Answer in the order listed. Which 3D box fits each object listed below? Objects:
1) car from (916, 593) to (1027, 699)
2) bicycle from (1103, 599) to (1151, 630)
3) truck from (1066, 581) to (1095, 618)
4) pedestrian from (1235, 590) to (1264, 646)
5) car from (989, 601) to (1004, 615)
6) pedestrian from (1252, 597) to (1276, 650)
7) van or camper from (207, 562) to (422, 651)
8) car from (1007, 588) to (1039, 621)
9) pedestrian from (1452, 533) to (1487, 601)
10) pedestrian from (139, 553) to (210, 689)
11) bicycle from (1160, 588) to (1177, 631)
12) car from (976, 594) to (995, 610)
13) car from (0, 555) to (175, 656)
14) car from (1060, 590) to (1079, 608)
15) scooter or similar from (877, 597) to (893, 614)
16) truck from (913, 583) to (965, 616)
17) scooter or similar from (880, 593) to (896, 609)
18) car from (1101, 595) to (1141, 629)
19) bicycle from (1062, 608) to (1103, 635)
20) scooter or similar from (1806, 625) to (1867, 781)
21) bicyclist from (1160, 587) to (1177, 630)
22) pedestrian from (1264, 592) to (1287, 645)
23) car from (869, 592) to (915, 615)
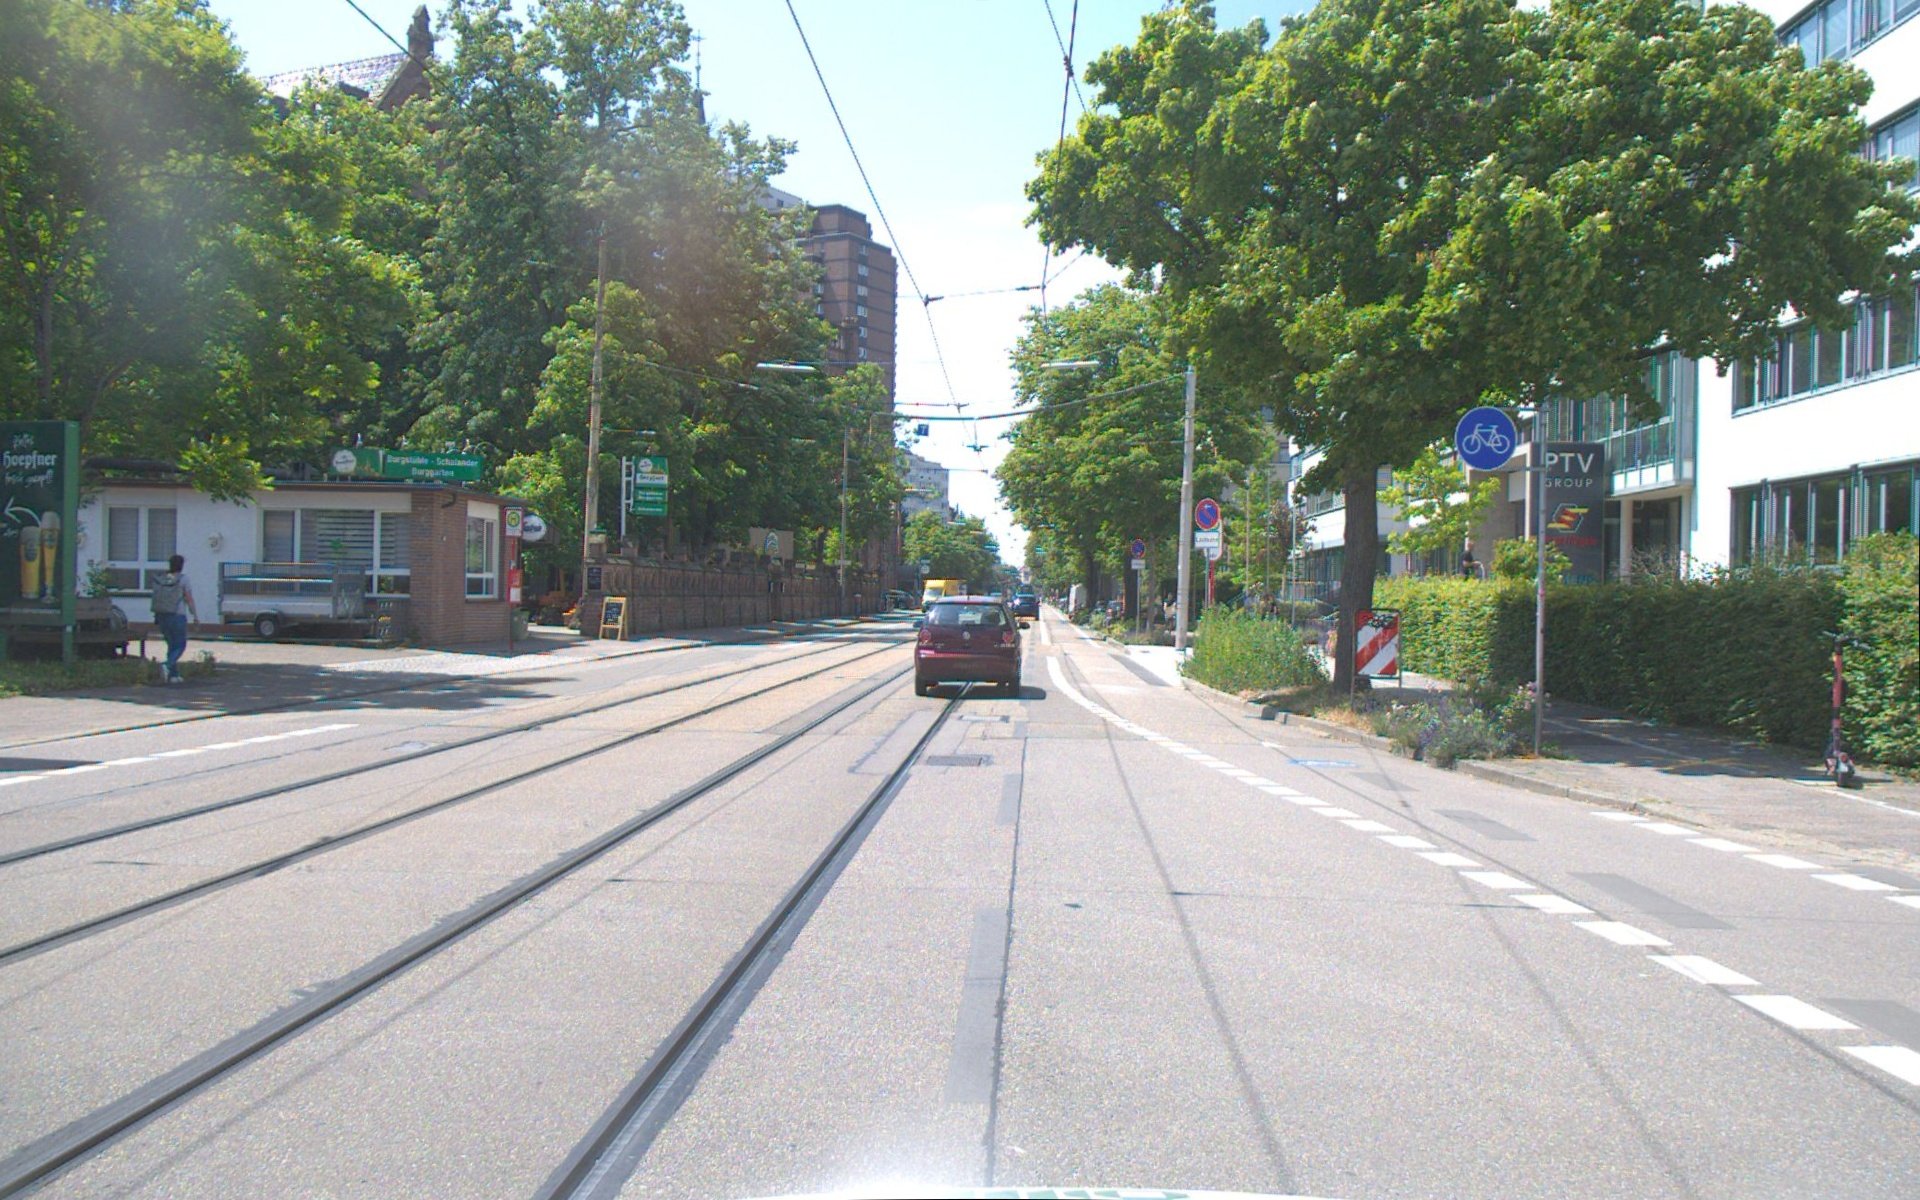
[{"bbox_3d":[0.240,0.659,26.008,1.585,1.512,4.001,1,0,2],"label":"car"},{"bbox_3d":[6.595,0.575,65.351,1.844,1.203,0.694,0,-1,2],"label":"bicycle"},{"bbox_3d":[9.274,-0.068,127.323,1.952,2.708,4.877,2,0,2],"label":"truck"},{"bbox_3d":[9.679,0.600,55.296,0.670,1.828,0.668,0,0,-29],"label":"pedestrian"},{"bbox_3d":[5.126,1.096,232.675,1.952,1.887,4.683,1,0,2],"label":"car"},{"bbox_3d":[9.996,0.774,54.382,0.530,1.745,0.561,0,-1,-27],"label":"pedestrian"},{"bbox_3d":[-13.506,0.106,34.766,3.705,1.657,1.872,3,1,2],"label":"van or camper"},{"bbox_3d":[4.147,0.251,109.174,1.953,2.048,4.000,2,0,0],"label":"car"},{"bbox_3d":[13.419,-0.865,43.600,0.855,1.745,1.090,-1,-1,16],"label":"pedestrian"},{"bbox_3d":[-10.741,0.282,22.639,0.568,1.806,0.699,2,0,-1],"label":"pedestrian"},{"bbox_3d":[9.075,0.412,71.994,0.675,1.817,1.812,0,-1,6],"label":"bicycle"},{"bbox_3d":[2.554,0.192,164.601,1.733,1.542,4.001,1,0,3],"label":"car"},{"bbox_3d":[-14.995,0.061,25.975,1.901,1.514,4.423,3,0,42],"label":"car"},{"bbox_3d":[10.562,-0.101,159.352,1.640,1.685,4.001,2,0,2],"label":"car"},{"bbox_3d":[-5.514,0.394,121.665,1.072,1.175,0.525,2,0,-19],"label":"scooter or similar"},{"bbox_3d":[-1.768,-0.044,145.807,2.320,2.836,7.322,1,0,18],"label":"truck"},{"bbox_3d":[-5.420,0.077,124.333,1.072,1.175,0.525,2,0,-19],"label":"scooter or similar"},{"bbox_3d":[7.544,0.566,77.602,1.653,1.529,3.628,0,0,2],"label":"car"},{"bbox_3d":[5.255,0.919,70.964,1.714,1.104,0.549,1,0,2],"label":"bicycle"},{"bbox_3d":[7.357,0.838,13.906,0.319,1.244,1.151,2,0,24],"label":"scooter or similar"},{"bbox_3d":[9.078,0.380,72.015,0.682,1.831,0.888,0,-1,6],"label":"bicyclist"},{"bbox_3d":[10.461,0.598,54.851,0.530,1.745,0.561,0,-1,-27],"label":"pedestrian"},{"bbox_3d":[-6.257,0.305,151.380,3.902,2.049,2.001,1,0,7],"label":"car"}]
